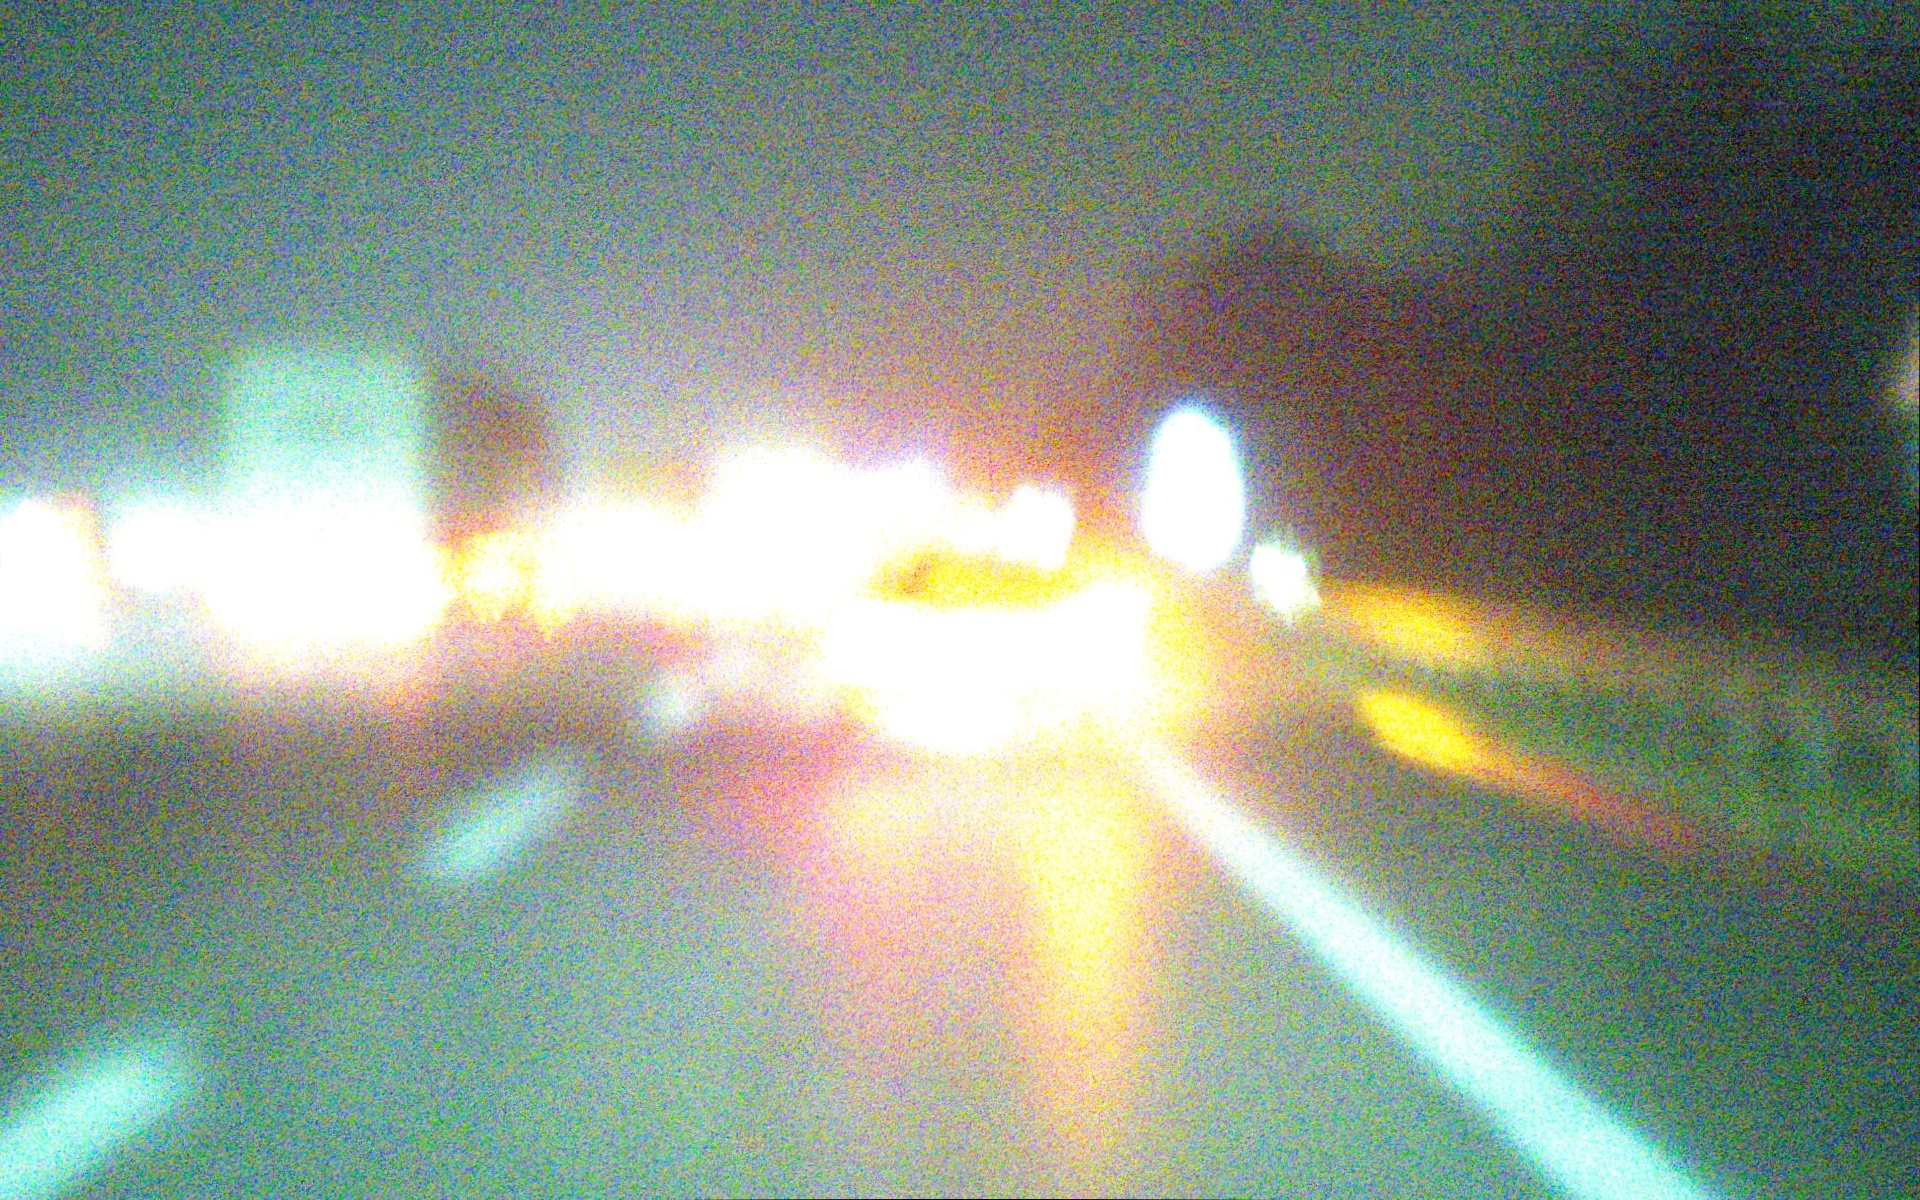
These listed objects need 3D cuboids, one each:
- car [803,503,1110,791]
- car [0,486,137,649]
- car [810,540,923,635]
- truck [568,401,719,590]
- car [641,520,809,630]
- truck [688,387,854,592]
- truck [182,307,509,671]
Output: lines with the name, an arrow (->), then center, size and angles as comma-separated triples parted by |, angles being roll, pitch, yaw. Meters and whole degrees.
car -> -0.007, 0.258, 23.383 | 1.878, 1.756, 4.000 | 1, 1, 0
car -> -12.843, -0.489, 47.371 | 2.123, 2.097, 5.630 | 1, 1, -5
car -> -1.743, -0.269, 65.286 | 1.993, 1.698, 4.459 | 1, 1, 0
truck -> -9.608, -3.145, 105.792 | 4.253, 5.425, 10.886 | 1, 1, -4
car -> -4.511, -0.511, 66.943 | 2.833, 2.007, 5.510 | 1, 1, 0
truck -> -5.104, -2.926, 93.318 | 4.161, 5.197, 9.955 | 1, 1, -3
truck -> -8.733, -1.543, 50.191 | 3.655, 4.721, 9.854 | 1, 1, -4
